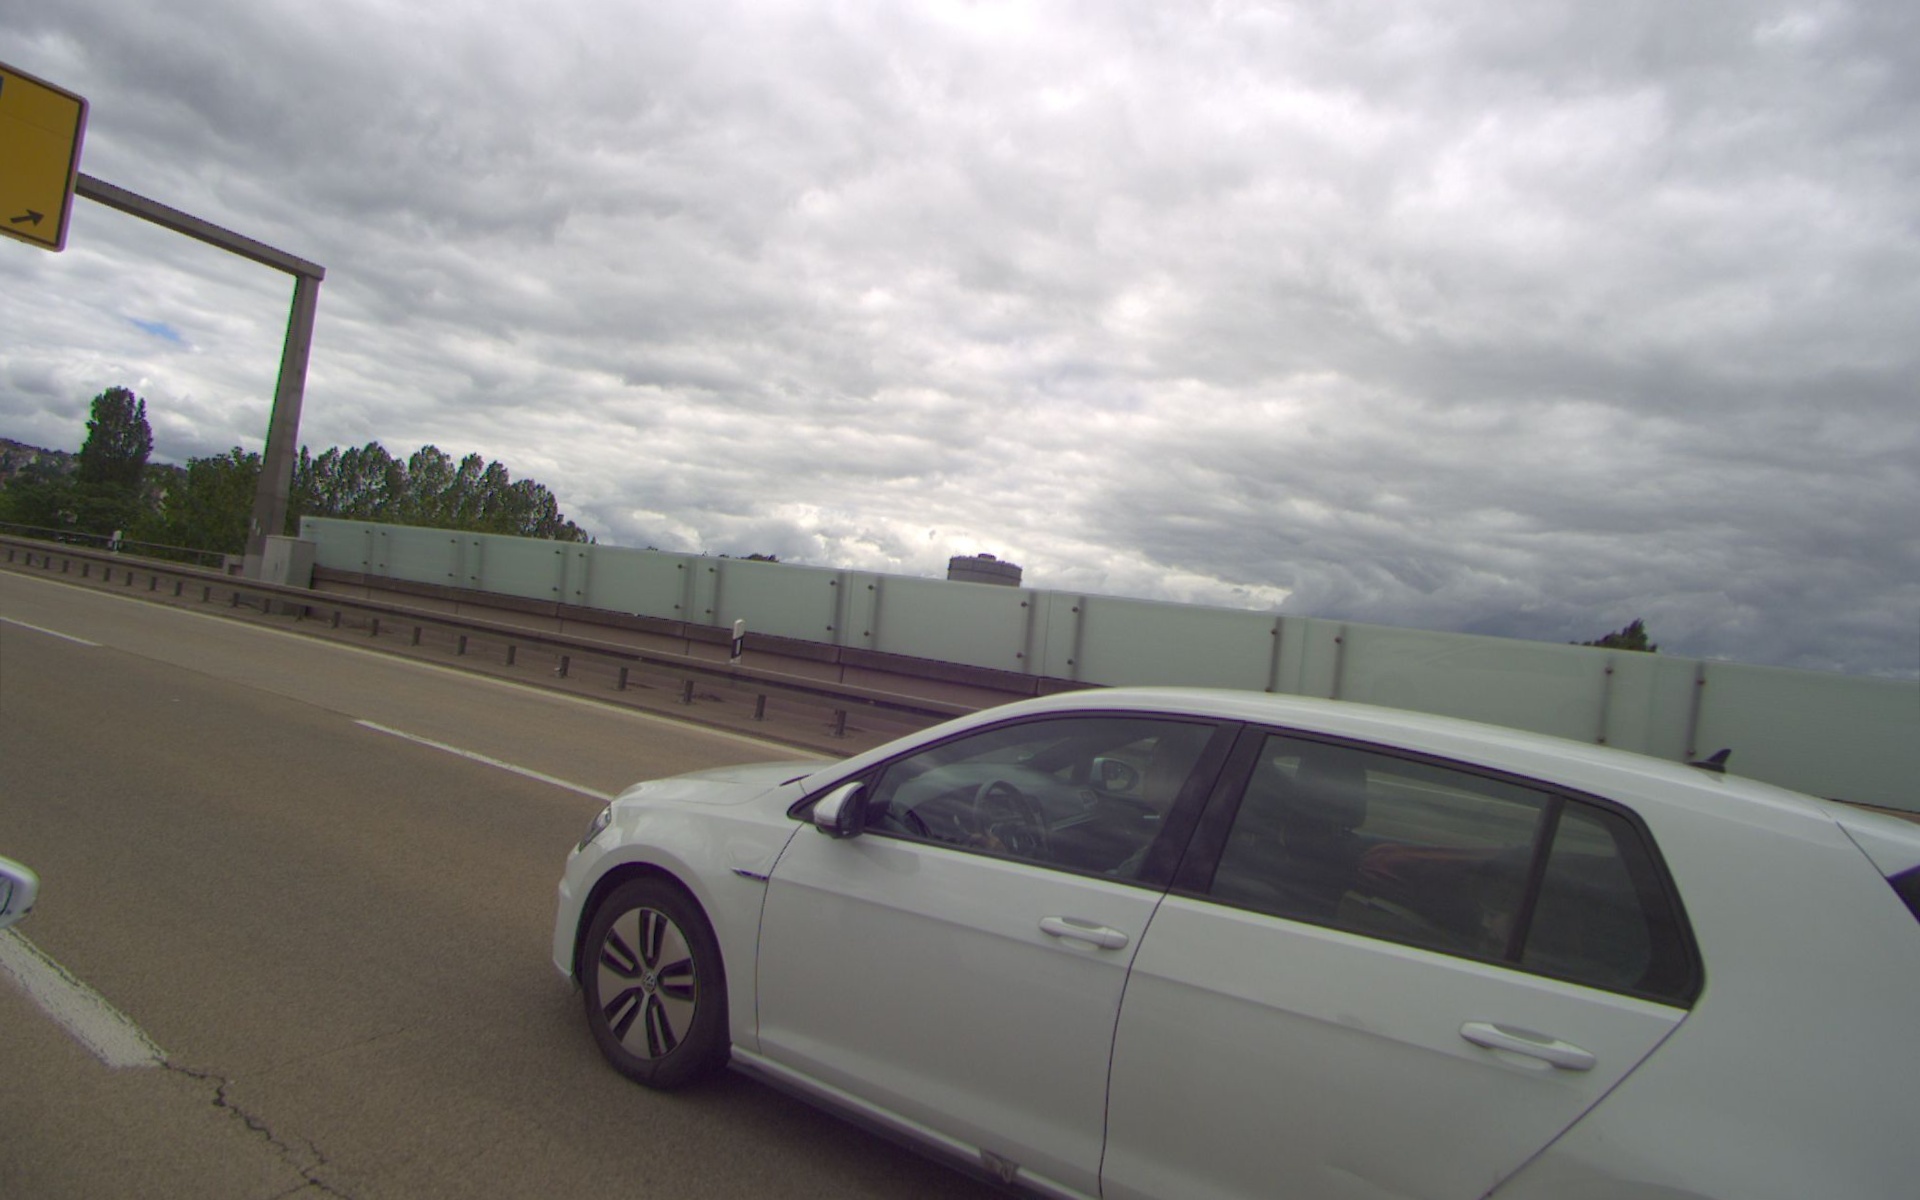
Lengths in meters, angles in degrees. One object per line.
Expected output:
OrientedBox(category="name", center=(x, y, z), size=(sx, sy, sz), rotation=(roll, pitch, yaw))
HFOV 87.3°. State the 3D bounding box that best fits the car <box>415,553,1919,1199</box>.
OrientedBox(category="car", center=(0.310, 0.841, 3.272), size=(4.004, 1.469, 1.758), rotation=(7, -1, 31))
